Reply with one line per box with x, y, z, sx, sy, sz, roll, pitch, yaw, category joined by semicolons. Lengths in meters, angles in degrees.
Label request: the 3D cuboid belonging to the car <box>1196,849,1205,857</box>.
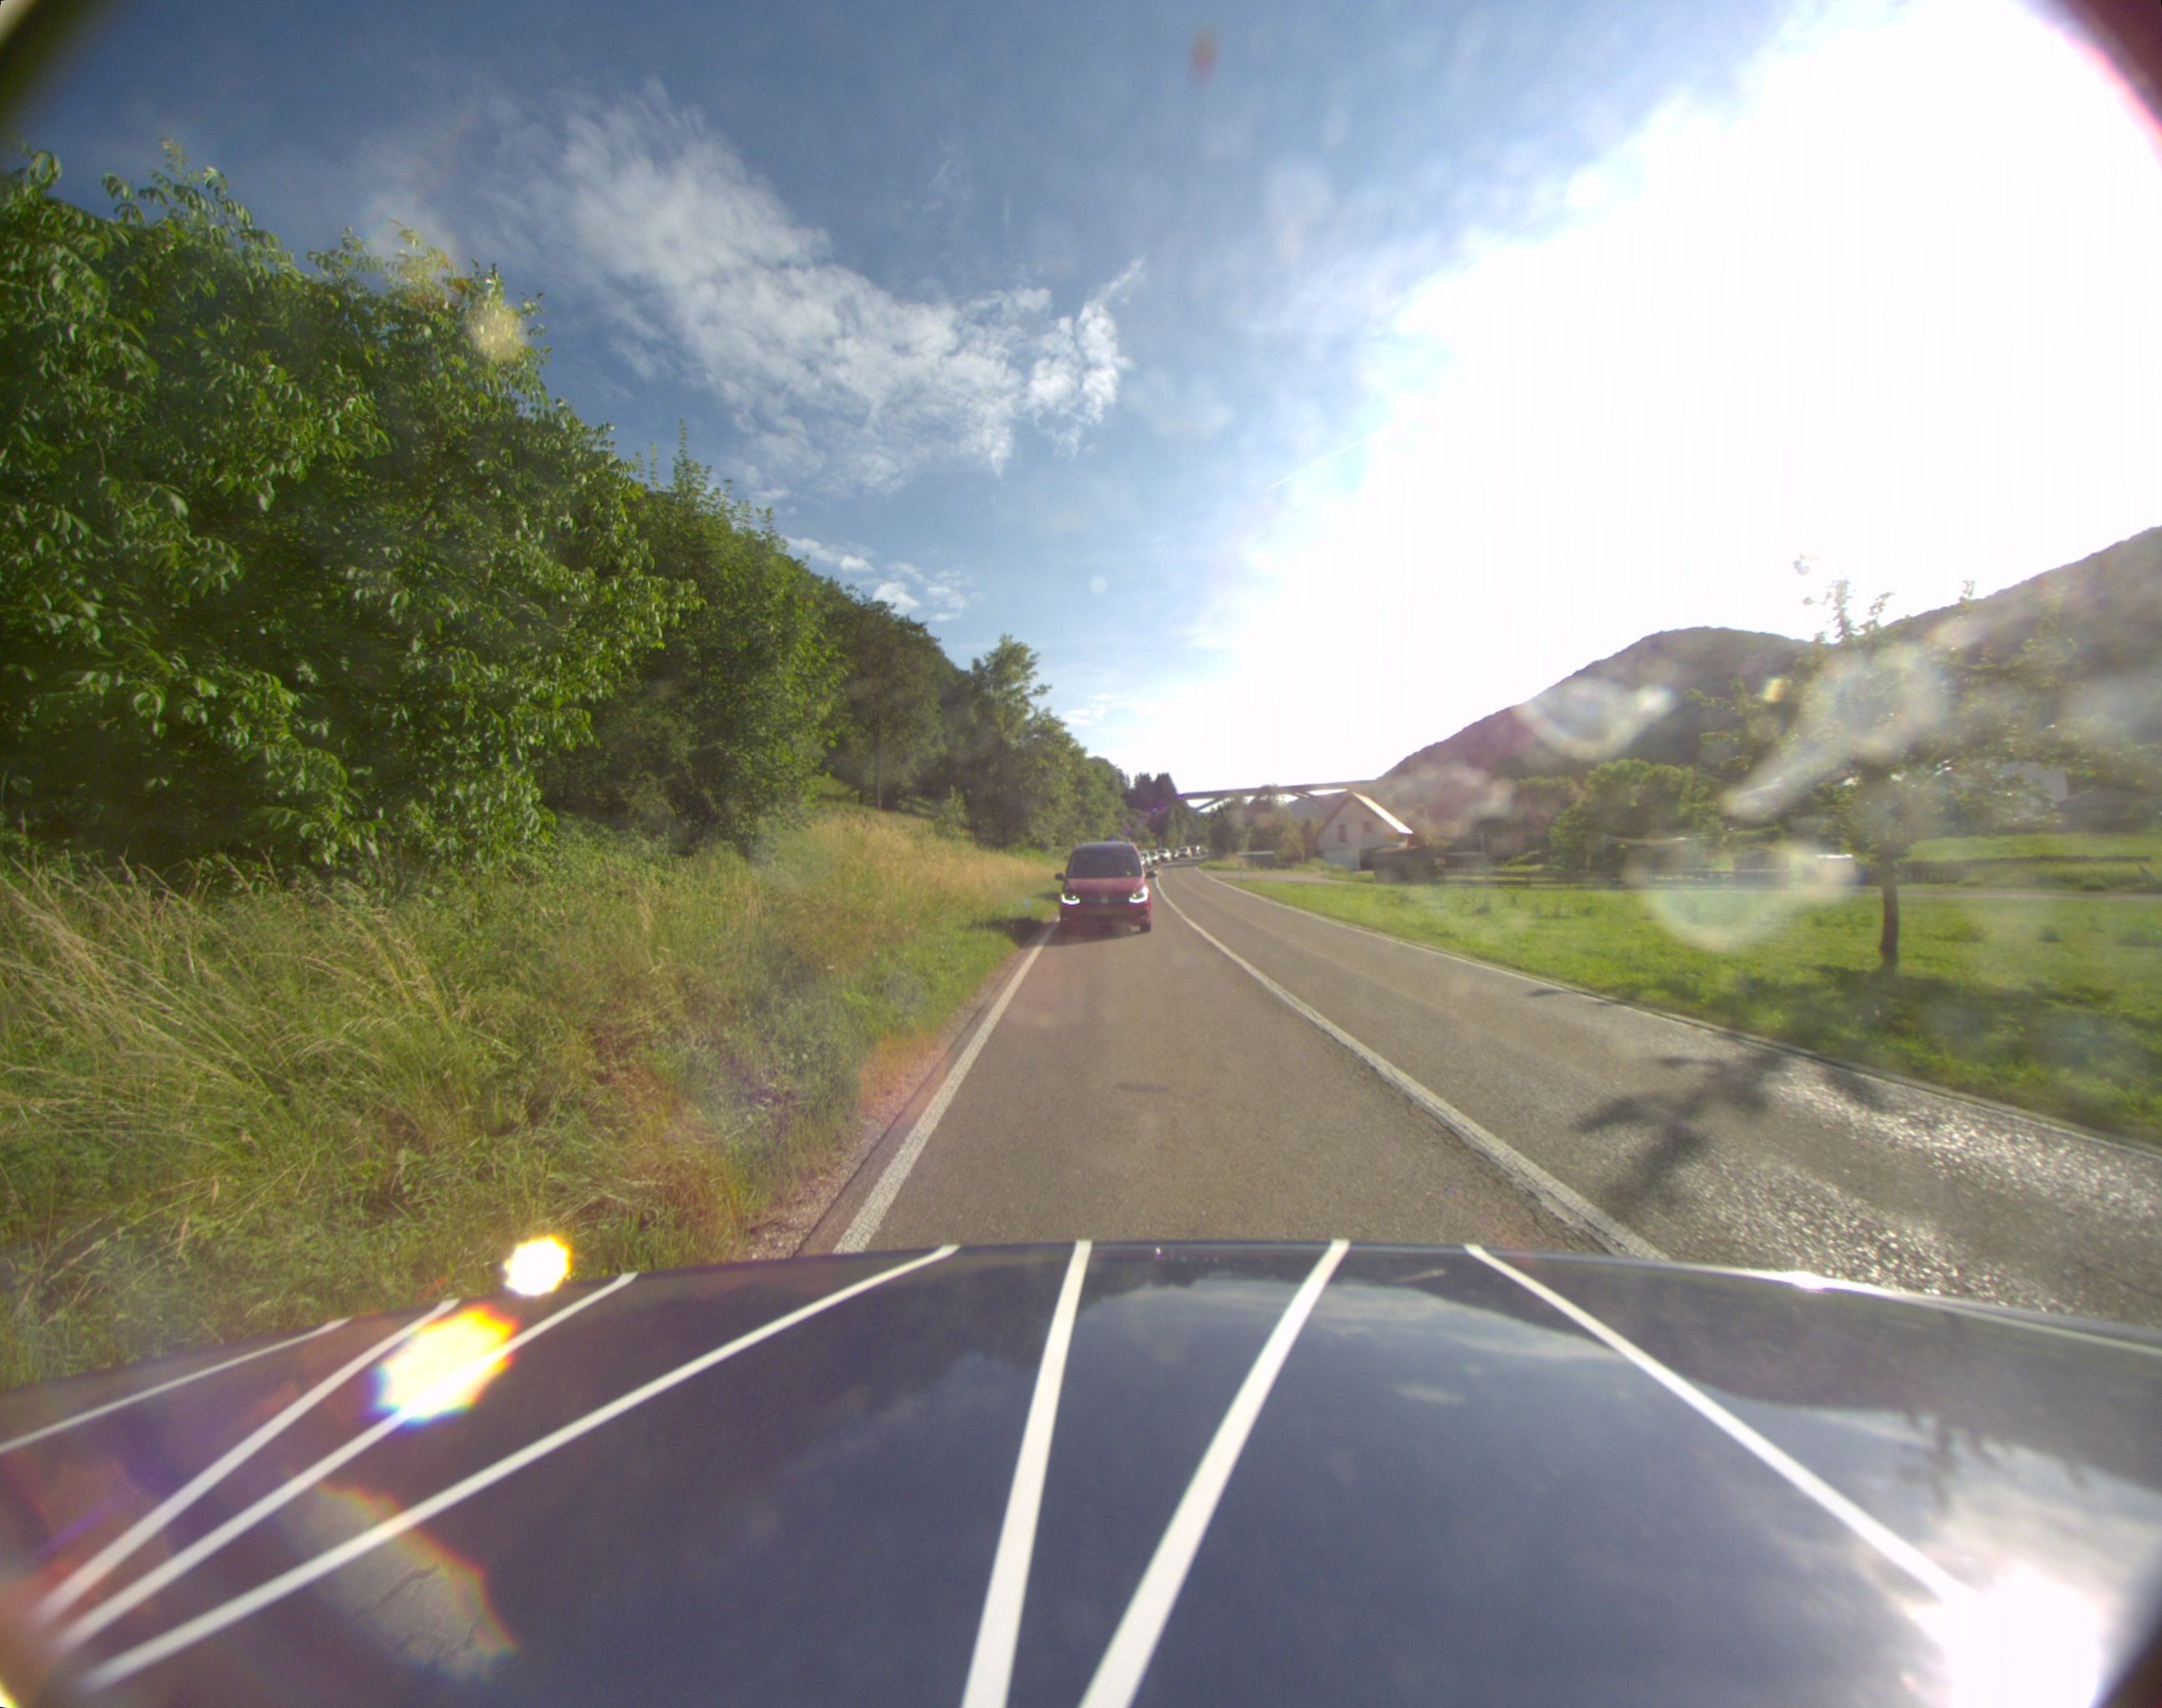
23.186;-0.256;147.750;1.629;1.470;3.681;-2;1;9;car

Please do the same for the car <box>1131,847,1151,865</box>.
5.234;0.137;65.844;1.629;1.470;3.680;-2;1;6;car

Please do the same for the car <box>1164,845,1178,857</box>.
12.192;-0.432;102.916;1.629;1.470;3.681;-2;1;9;car

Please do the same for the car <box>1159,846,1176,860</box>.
10.114;-0.130;88.656;1.630;1.470;3.679;-2;1;2;car

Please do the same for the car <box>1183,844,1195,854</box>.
16.901;-0.780;118.767;1.629;1.470;3.680;-2;1;5;car

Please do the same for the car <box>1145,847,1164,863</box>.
7.235;0.099;74.992;1.630;1.470;3.679;-2;1;2;car

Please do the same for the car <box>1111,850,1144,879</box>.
2.611;0.553;42.243;1.629;1.470;3.680;-2;1;6;car

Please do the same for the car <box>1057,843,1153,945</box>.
0.493;0.684;15.468;1.649;1.762;4.000;-2;1;2;car
